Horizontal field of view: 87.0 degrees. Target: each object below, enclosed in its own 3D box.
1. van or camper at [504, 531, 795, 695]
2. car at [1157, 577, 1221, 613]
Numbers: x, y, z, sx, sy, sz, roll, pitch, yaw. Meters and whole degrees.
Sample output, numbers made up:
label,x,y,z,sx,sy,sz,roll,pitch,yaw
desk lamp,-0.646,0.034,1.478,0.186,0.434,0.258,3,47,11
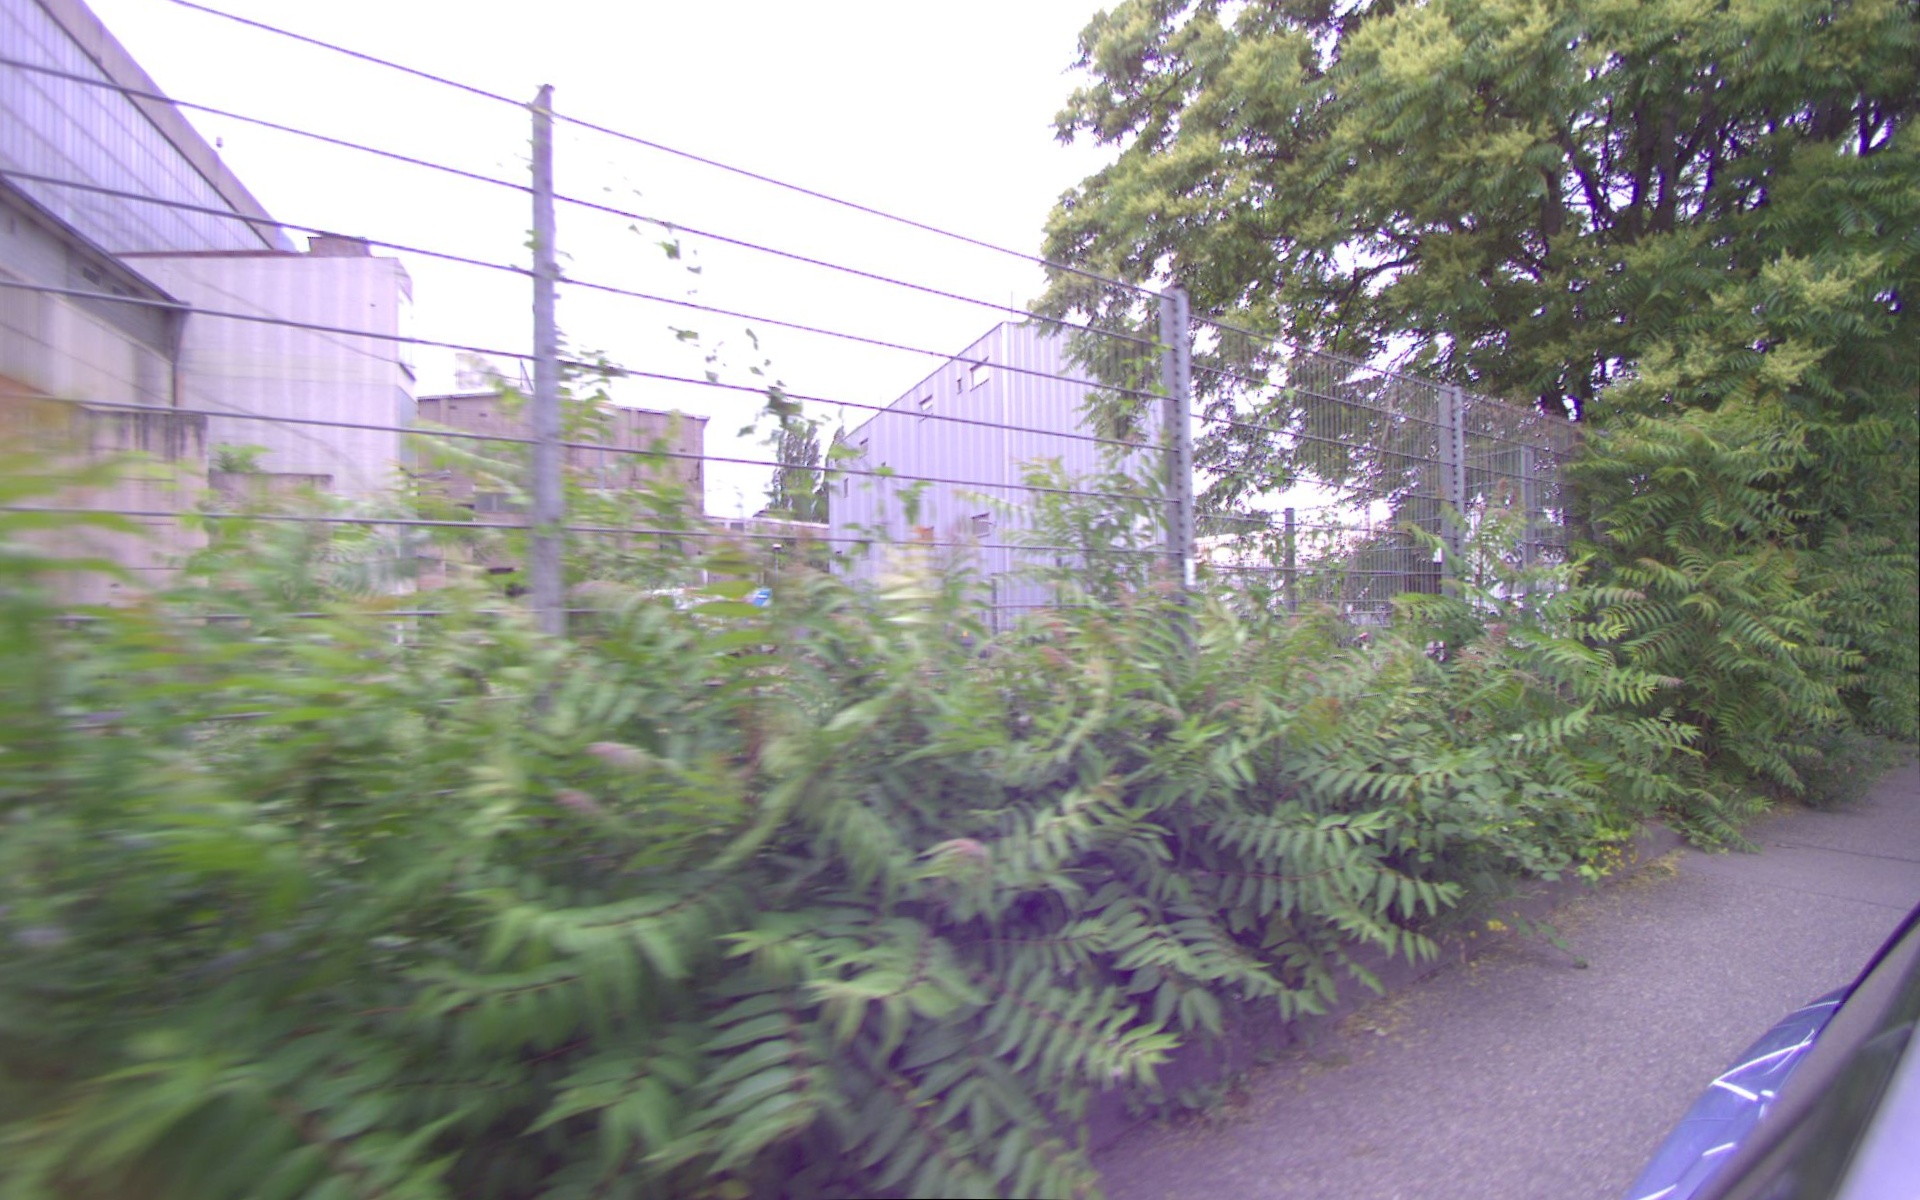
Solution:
label,x,y,z,sx,sy,sz,roll,pitch,yaw
van or camper,-11.059,0.311,34.704,5.389,4.587,11.831,-3,1,-39
car,17.703,-0.368,78.447,2.366,2.680,5.361,0,0,-19
